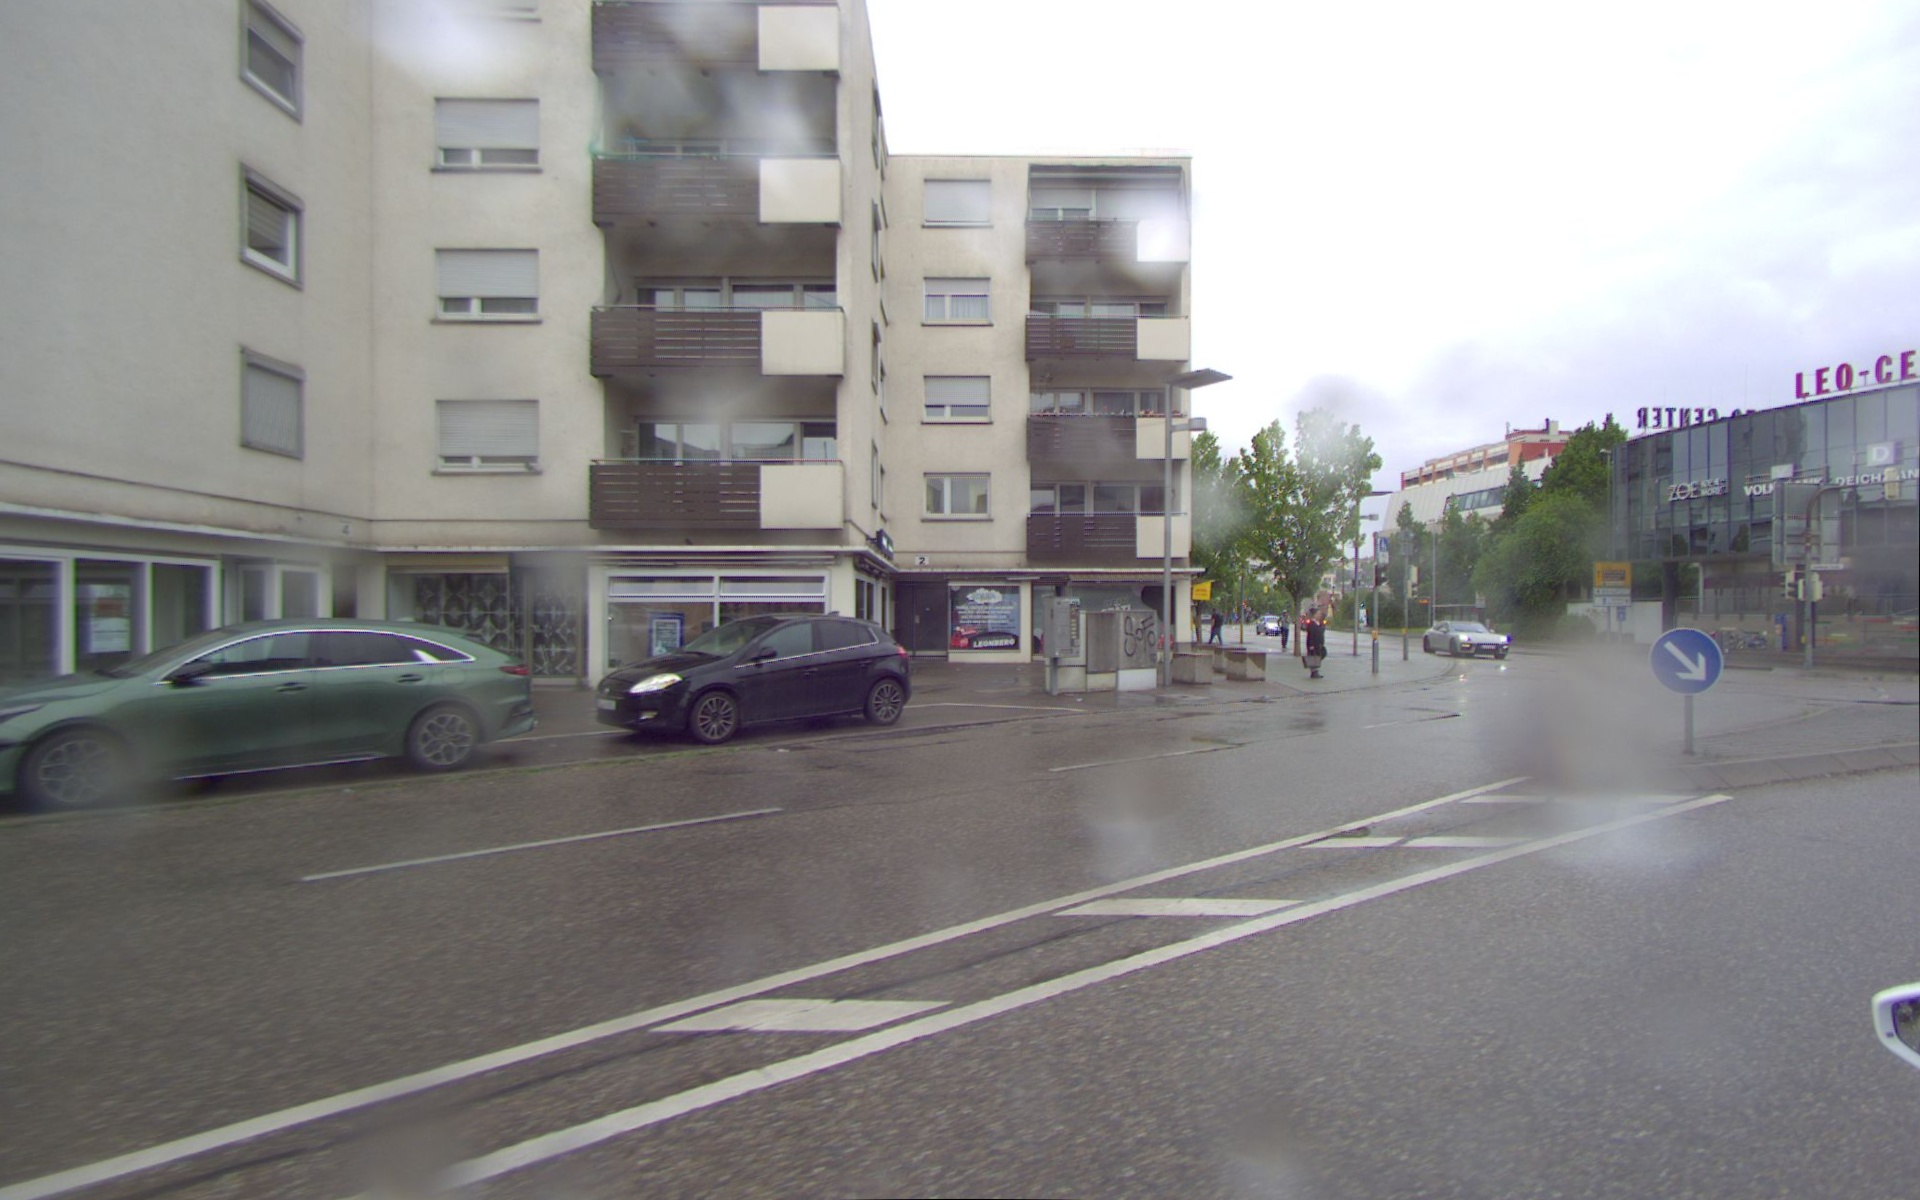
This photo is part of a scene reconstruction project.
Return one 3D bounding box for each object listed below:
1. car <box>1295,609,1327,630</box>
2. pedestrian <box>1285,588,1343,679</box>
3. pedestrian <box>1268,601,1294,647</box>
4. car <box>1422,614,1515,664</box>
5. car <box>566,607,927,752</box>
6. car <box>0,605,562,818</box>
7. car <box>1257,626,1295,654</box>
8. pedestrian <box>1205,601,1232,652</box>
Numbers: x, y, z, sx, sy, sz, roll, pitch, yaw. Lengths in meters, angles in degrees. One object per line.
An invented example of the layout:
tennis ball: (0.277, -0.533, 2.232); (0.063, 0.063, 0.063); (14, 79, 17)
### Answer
car: (34.904, 1.901, 99.974); (1.960, 2.040, 4.002); (0, -1, 4)
pedestrian: (8.284, 0.784, 23.504); (0.908, 2.041, 0.746); (2, 3, -23)
pedestrian: (14.926, 1.090, 46.715); (1.007, 2.041, 0.964); (3, 3, 15)
car: (20.354, 1.511, 40.426); (1.959, 1.532, 4.434); (3, 3, 8)
car: (-2.633, 0.889, 13.046); (4.244, 1.562, 1.915); (1, 0, -44)
car: (-6.346, 0.844, 9.415); (4.490, 1.562, 1.915); (1, 0, -44)
car: (24.461, 3.066, 77.856); (1.960, 2.040, 4.002); (0, -1, 4)
pedestrian: (11.014, 1.120, 42.781); (1.007, 2.041, 0.964); (3, 3, 15)
